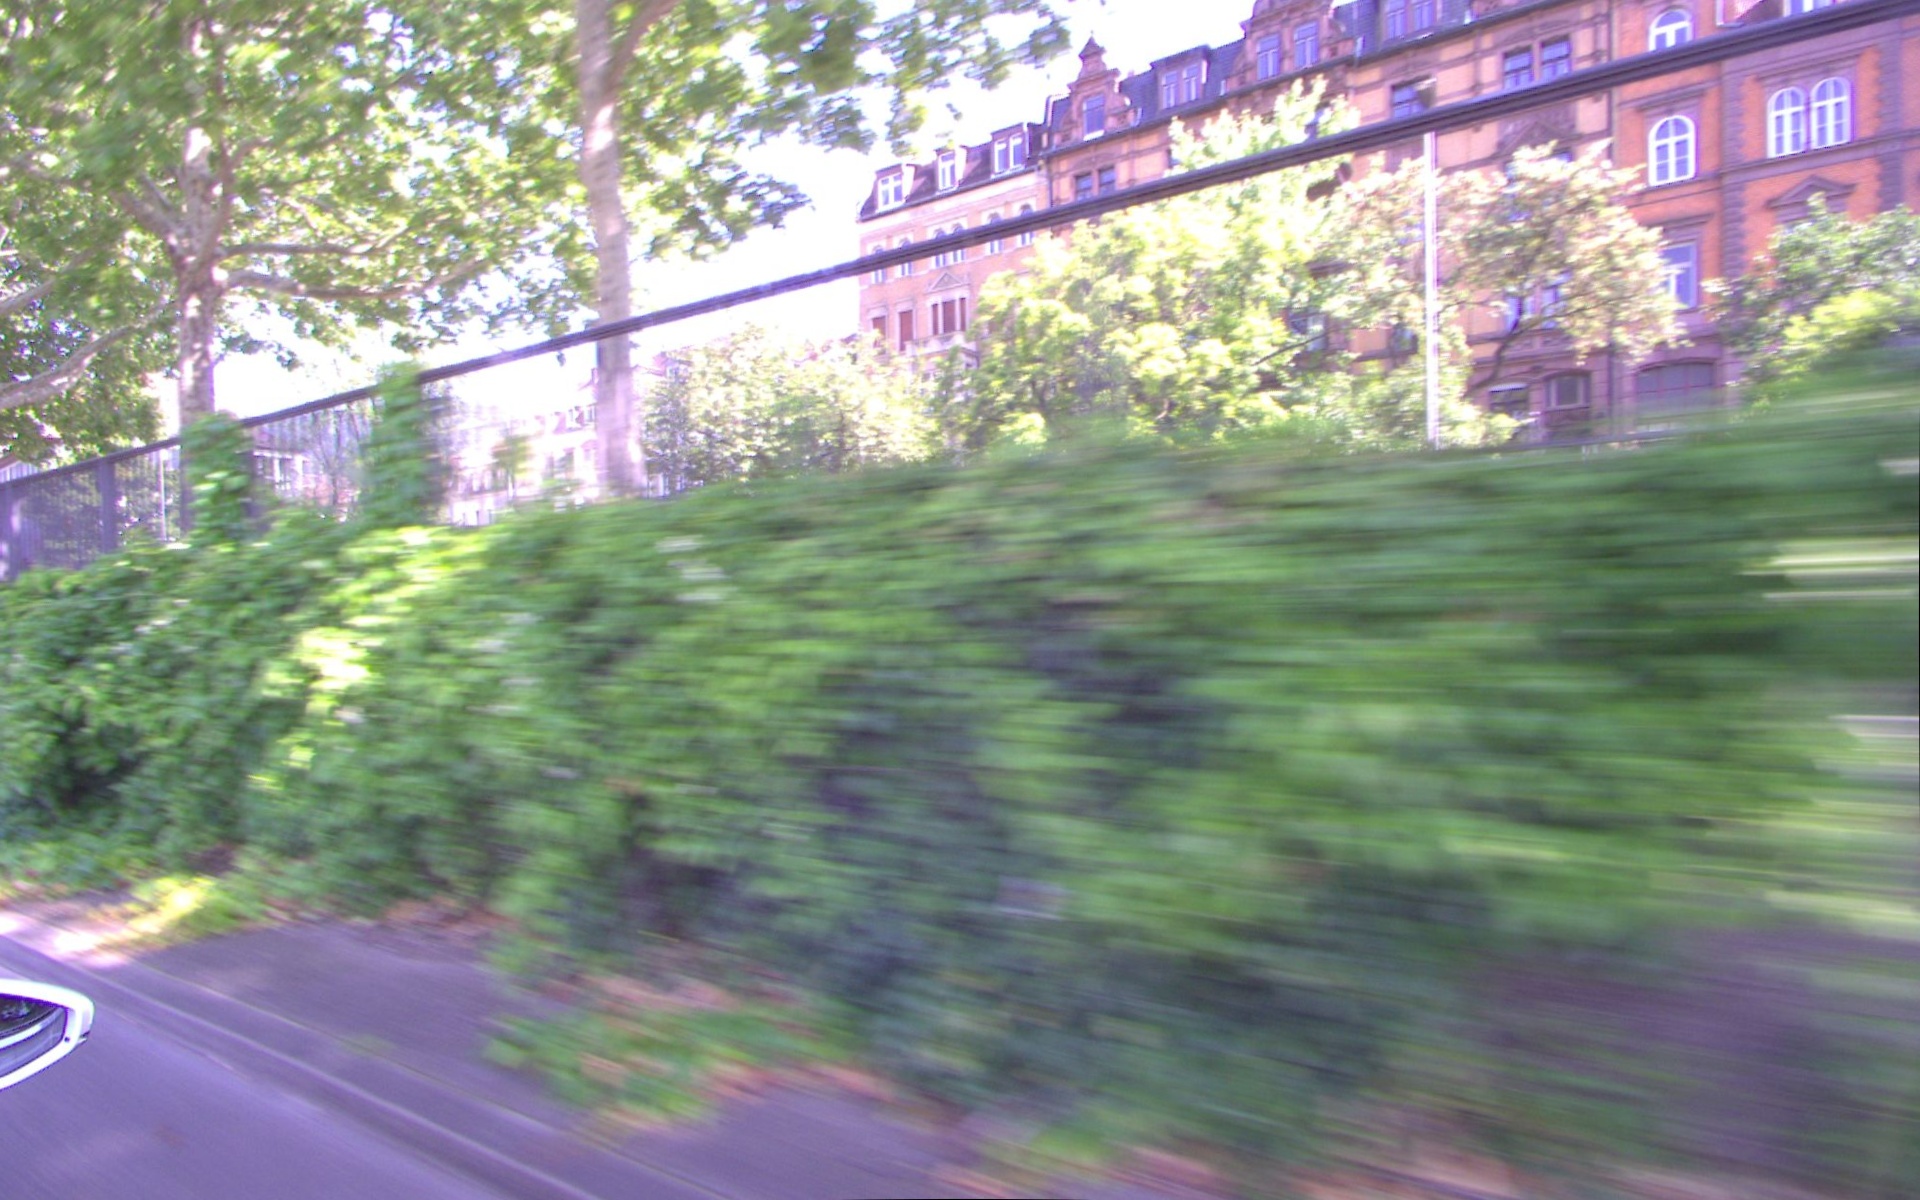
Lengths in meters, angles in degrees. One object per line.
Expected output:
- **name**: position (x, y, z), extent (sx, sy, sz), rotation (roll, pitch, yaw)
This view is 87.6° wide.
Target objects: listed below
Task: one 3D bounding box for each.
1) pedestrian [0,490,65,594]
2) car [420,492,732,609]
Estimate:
- **pedestrian**: position (-13.055, -0.790, 13.900), extent (0.782, 1.384, 0.642), rotation (-1, 3, 29)
- **car**: position (-4.785, -0.623, 13.059), extent (1.646, 1.252, 3.724), rotation (-1, 2, 23)
